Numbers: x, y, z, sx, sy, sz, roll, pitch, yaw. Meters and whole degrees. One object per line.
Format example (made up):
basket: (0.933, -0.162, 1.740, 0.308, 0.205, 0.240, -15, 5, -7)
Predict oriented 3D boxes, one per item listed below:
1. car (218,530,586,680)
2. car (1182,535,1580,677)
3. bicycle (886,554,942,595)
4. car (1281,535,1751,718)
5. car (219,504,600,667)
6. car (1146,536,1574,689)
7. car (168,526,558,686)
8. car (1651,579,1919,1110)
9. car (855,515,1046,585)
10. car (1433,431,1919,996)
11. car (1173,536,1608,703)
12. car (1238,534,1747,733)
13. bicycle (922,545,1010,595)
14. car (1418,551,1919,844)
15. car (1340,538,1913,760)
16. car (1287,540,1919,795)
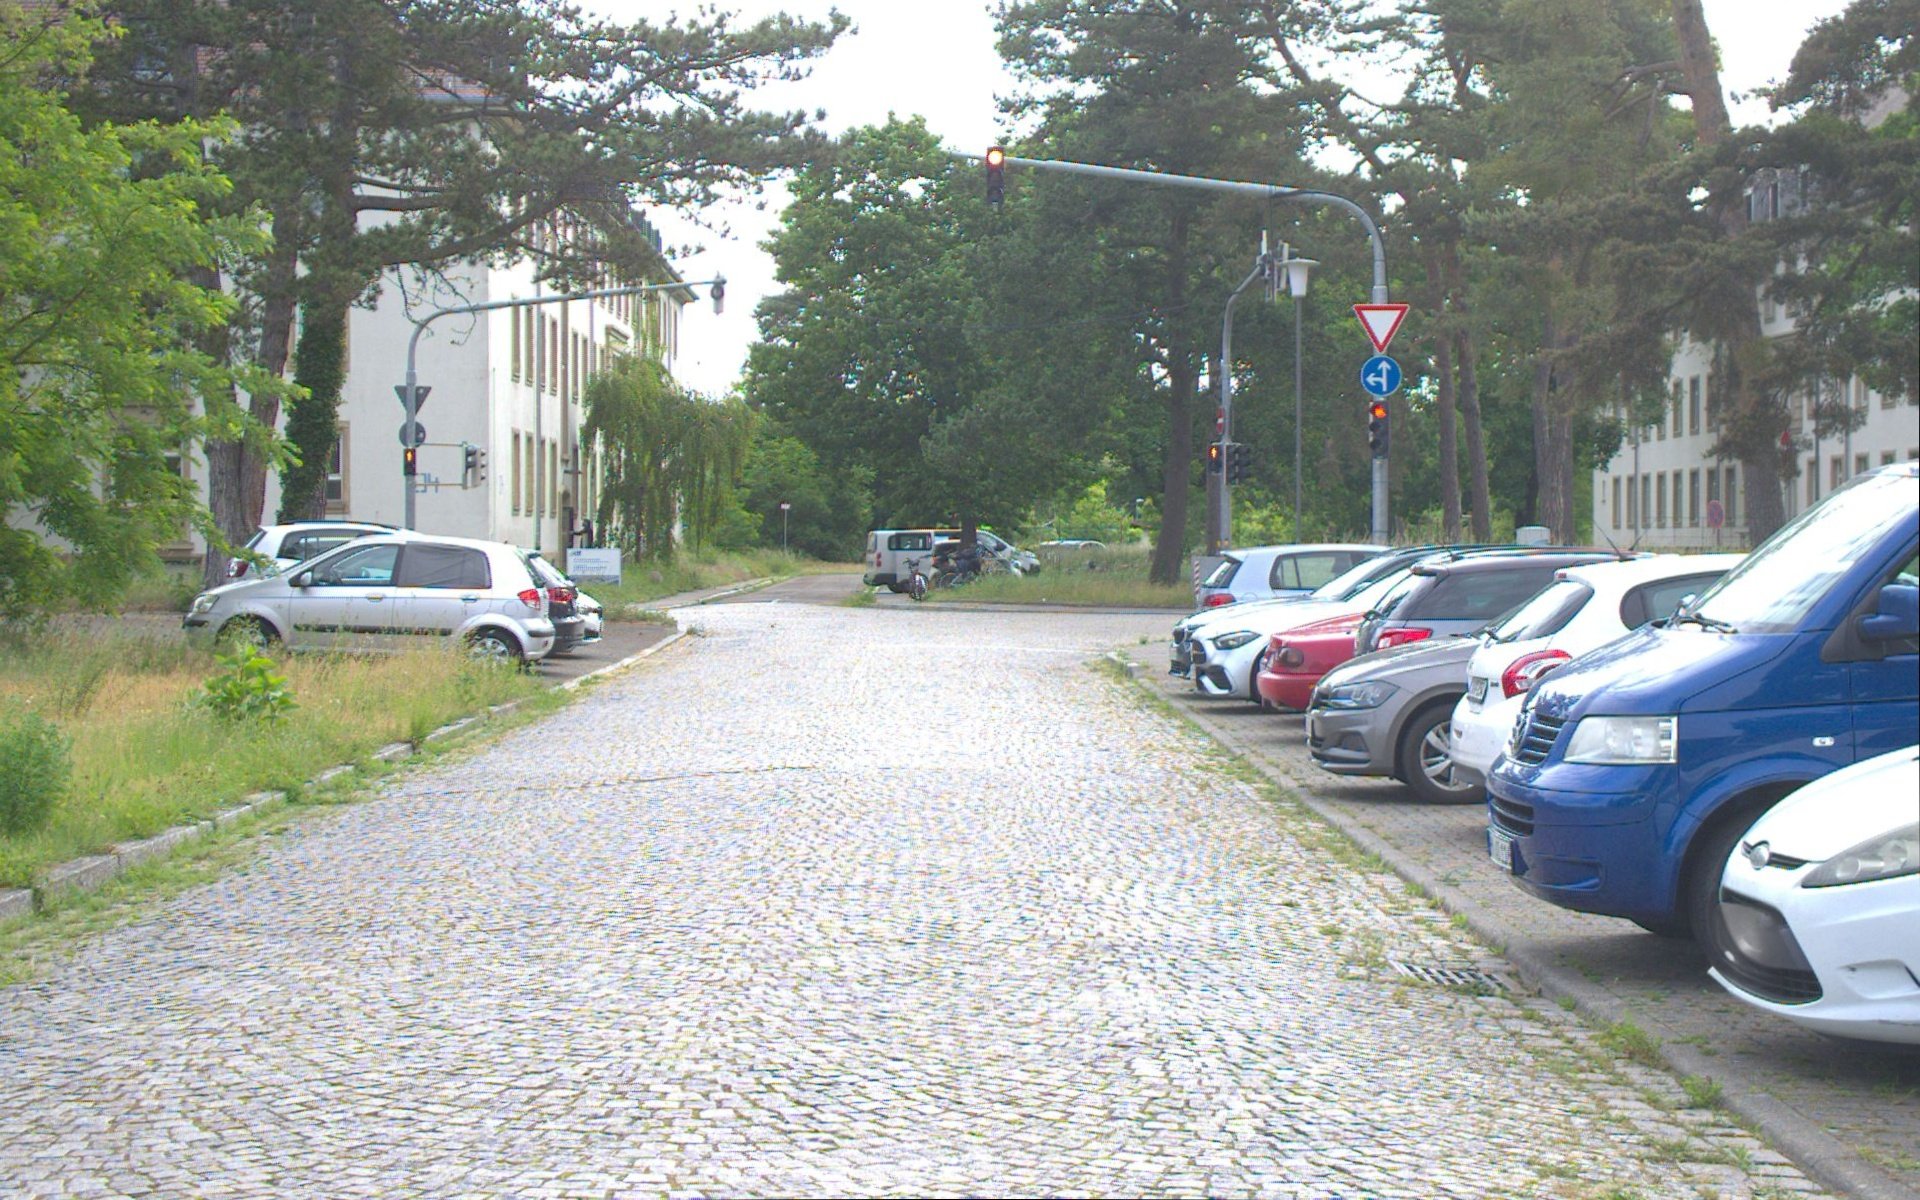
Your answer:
car: (-6.142, 0.039, 38.126, 3.821, 1.567, 1.564, -1, 1, -1)
car: (4.471, 0.044, 36.821, 3.967, 1.416, 1.620, -1, 1, -5)
bicycle: (-1.107, -0.602, 81.658, 0.620, 0.941, 1.663, 1, 1, -28)
car: (4.656, 0.207, 29.064, 3.671, 1.444, 1.524, -1, 1, -2)
car: (-6.529, -0.181, 41.109, 4.262, 1.834, 1.744, -1, 1, -1)
car: (3.934, 0.109, 34.169, 3.967, 1.416, 1.620, -1, 1, -5)
car: (-6.153, 0.046, 35.709, 3.821, 1.567, 1.565, -1, 1, -4)
car: (4.126, 0.650, 10.436, 3.671, 1.444, 1.615, -1, 1, -3)
car: (-0.308, -1.508, 103.630, 5.444, 2.007, 2.269, 1, 1, -9)
car: (4.338, 0.350, 13.025, 4.754, 1.948, 1.931, -1, 1, -2)
car: (3.885, 0.158, 31.314, 3.671, 1.416, 1.524, -1, 1, -5)
car: (4.096, 0.242, 26.777, 3.671, 1.444, 1.524, -1, 1, -2)
bicycle: (0.148, -0.751, 85.731, 2.136, 1.210, 0.622, 1, 1, -5)
car: (4.407, 0.475, 18.307, 3.671, 1.444, 1.524, -1, 1, -2)
car: (4.611, 0.318, 24.074, 3.671, 1.444, 1.524, -1, 1, -2)
car: (3.948, 0.387, 21.083, 3.671, 1.444, 1.524, -1, 1, -2)
